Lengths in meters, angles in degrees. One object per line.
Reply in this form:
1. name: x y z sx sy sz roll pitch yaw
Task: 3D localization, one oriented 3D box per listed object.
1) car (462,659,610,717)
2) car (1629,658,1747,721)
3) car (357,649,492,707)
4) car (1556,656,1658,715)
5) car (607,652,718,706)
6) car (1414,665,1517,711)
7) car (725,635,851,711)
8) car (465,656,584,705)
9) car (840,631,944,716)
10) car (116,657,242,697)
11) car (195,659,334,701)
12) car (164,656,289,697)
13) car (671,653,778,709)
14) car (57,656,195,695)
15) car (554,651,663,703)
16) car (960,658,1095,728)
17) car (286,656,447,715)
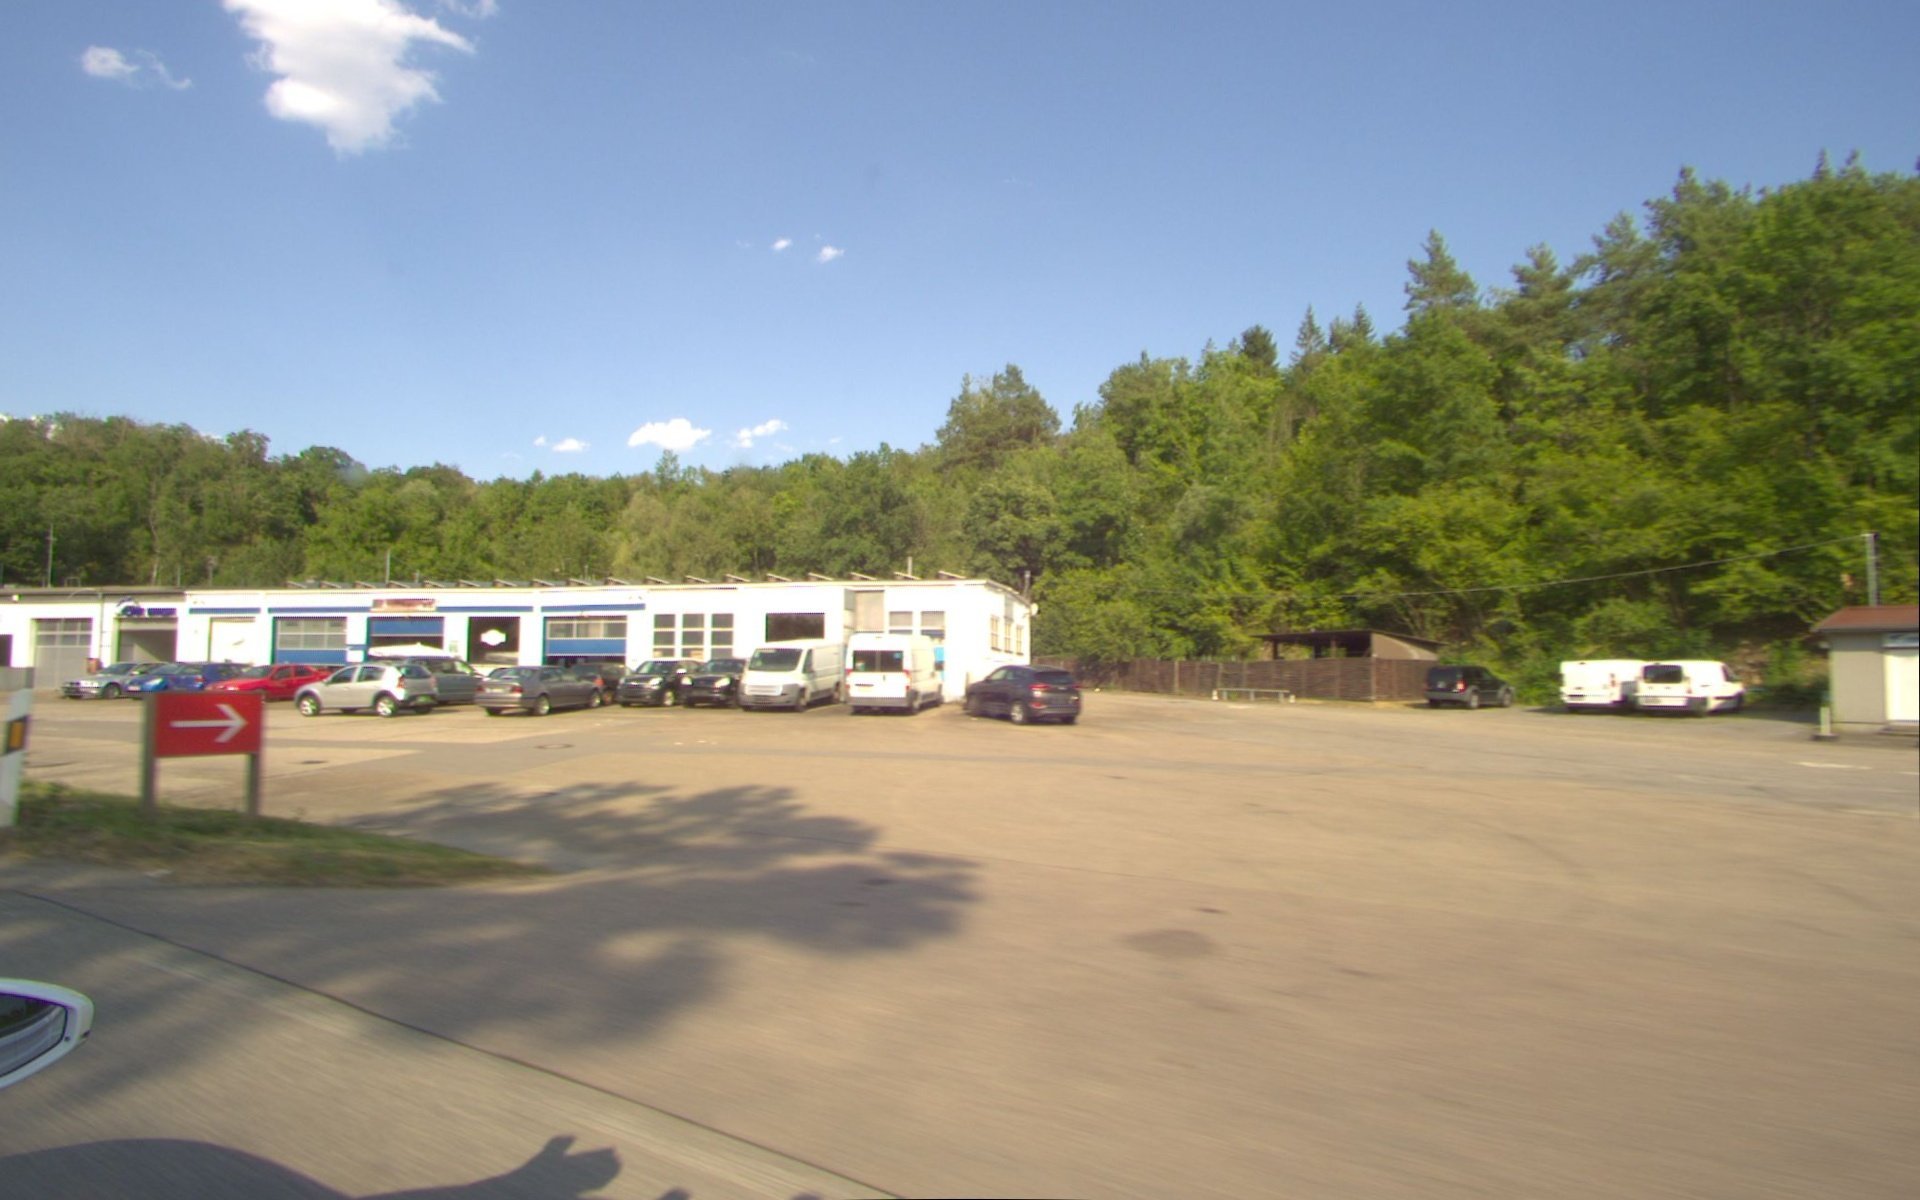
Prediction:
1. car: -12.946 2.646 30.969 1.920 1.452 4.734 0 -1 11
2. car: 25.391 3.078 34.888 4.504 2.038 1.987 3 -4 -35
3. car: -18.295 2.622 34.446 1.856 1.751 4.261 0 -1 10
4. car: 23.921 3.147 36.997 4.053 2.038 1.985 4 -4 -39
5. car: -10.173 2.671 34.626 1.859 1.631 4.252 0 -1 12
6. car: 20.751 3.561 41.055 4.502 1.695 1.983 2 -3 -37
7. car: -5.606 2.358 33.595 2.252 2.303 5.491 0 -2 12
8. car: -15.357 2.793 35.533 1.835 1.480 4.158 0 -1 11
9. car: -2.064 2.275 32.272 2.166 2.480 4.924 0 -2 11
10. car: -29.963 2.934 38.539 1.659 1.423 3.562 0 -3 12
11. car: -25.943 2.966 37.508 1.859 1.365 4.079 0 -2 12
12. car: -27.839 2.901 38.136 1.701 1.463 3.556 0 -4 12
13. car: -7.857 2.686 33.808 1.888 1.631 4.171 0 -1 12
14. car: -32.428 2.910 39.085 1.743 1.371 3.971 0 -2 9
15. car: -12.459 2.698 35.751 1.859 1.631 3.998 0 -1 12
16. car: 1.867 2.646 29.201 1.914 1.691 4.385 3 -2 -28
17. car: -17.786 2.540 30.103 3.912 1.617 1.796 0 -1 9
